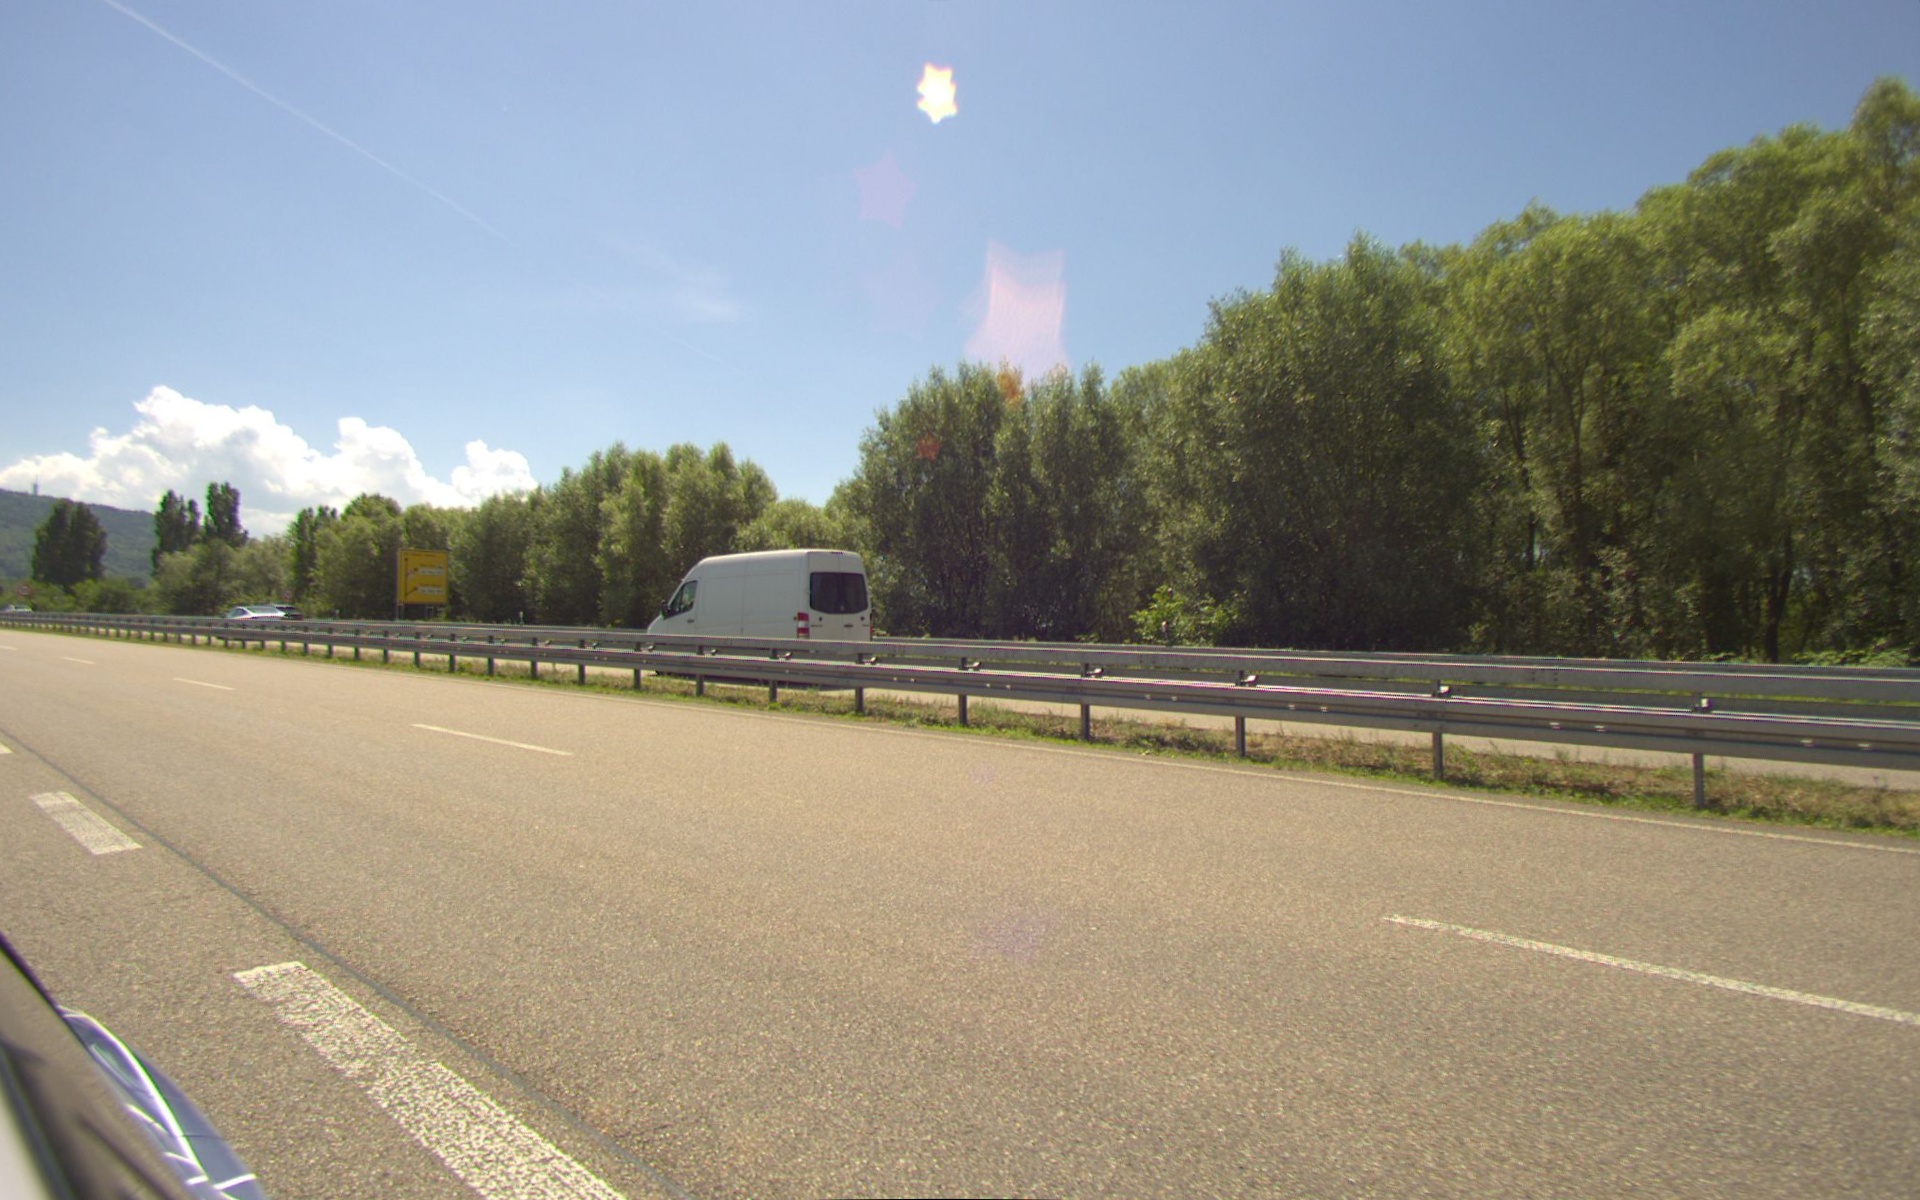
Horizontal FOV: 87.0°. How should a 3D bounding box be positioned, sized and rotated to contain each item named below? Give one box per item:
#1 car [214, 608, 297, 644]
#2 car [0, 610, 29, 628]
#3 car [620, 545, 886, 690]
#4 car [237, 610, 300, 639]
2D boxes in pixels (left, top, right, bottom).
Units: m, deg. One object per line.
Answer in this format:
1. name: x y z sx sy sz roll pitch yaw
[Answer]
1. car: -30.551 1.112 43.879 3.995 1.500 1.899 0 -1 39
2. car: -85.409 1.687 91.173 3.995 1.515 1.693 0 -1 38
3. car: -4.638 0.356 21.794 6.625 2.703 2.080 -1 -1 42
4. car: -38.212 1.346 55.892 4.068 1.563 1.673 0 -1 37
